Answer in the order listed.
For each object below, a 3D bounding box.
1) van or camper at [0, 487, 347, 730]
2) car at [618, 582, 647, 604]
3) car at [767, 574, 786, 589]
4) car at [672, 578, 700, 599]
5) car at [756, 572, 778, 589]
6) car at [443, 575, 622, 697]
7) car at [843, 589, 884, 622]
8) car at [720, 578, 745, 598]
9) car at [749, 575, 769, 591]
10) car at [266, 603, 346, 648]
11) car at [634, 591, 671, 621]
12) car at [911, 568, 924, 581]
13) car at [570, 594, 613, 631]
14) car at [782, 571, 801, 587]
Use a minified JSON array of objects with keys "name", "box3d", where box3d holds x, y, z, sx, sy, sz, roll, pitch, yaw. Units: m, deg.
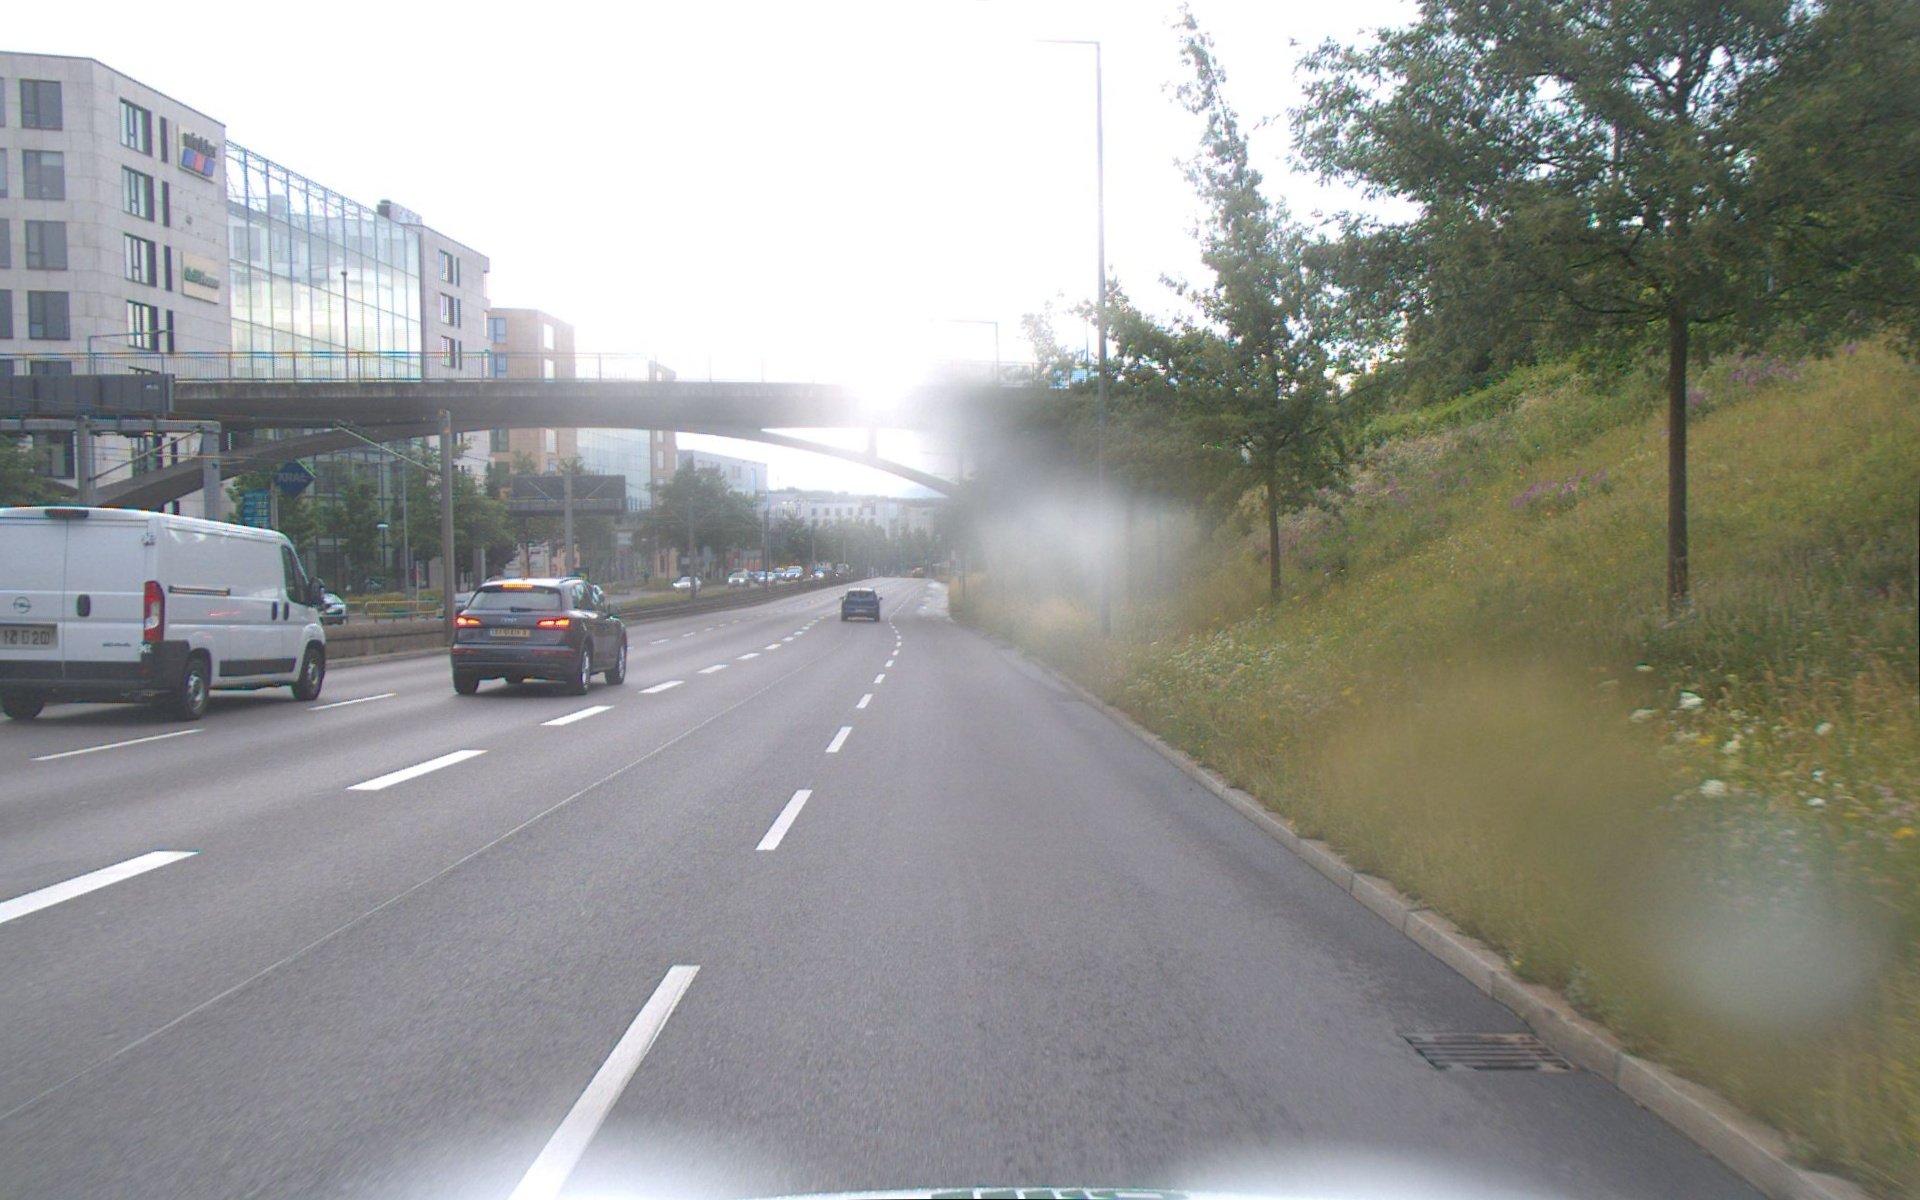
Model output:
[{"name":"van or camper","box3d":[-9.340,0.076,19.677,2.159,2.481,5.529,0,0,-1]},{"name":"car","box3d":[-31.039,-0.646,156.861,1.952,2.049,4.000,0,0,0]},{"name":"car","box3d":[-24.662,-2.522,222.342,1.953,1.765,4.249,1,3,0]},{"name":"car","box3d":[-26.339,-1.102,159.344,1.953,1.765,4.249,1,3,0]},{"name":"car","box3d":[-22.092,-2.206,189.407,1.953,1.765,4.249,1,3,0]},{"name":"car","box3d":[-6.275,0.488,24.798,1.716,1.645,4.745,0,0,-4]},{"name":"car","box3d":[-4.347,0.227,75.125,1.713,1.445,3.478,0,1,-1]},{"name":"car","box3d":[-22.967,-1.205,167.258,1.952,2.049,4.000,0,0,0]},{"name":"car","box3d":[-25.047,-2.096,205.941,1.953,1.765,4.249,1,3,0]},{"name":"car","box3d":[-22.969,0.872,58.180,1.487,1.445,3.477,0,1,-1]},{"name":"car","box3d":[-21.008,0.394,113.038,1.954,1.735,3.999,1,3,-3]},{"name":"car","box3d":[-6.632,-4.012,259.771,1.826,1.780,3.998,1,3,-5]},{"name":"car","box3d":[-23.305,0.759,104.698,1.953,2.048,4.000,1,3,-2]},{"name":"car","box3d":[-21.563,-2.710,211.850,1.953,1.765,4.249,1,3,0]}]
